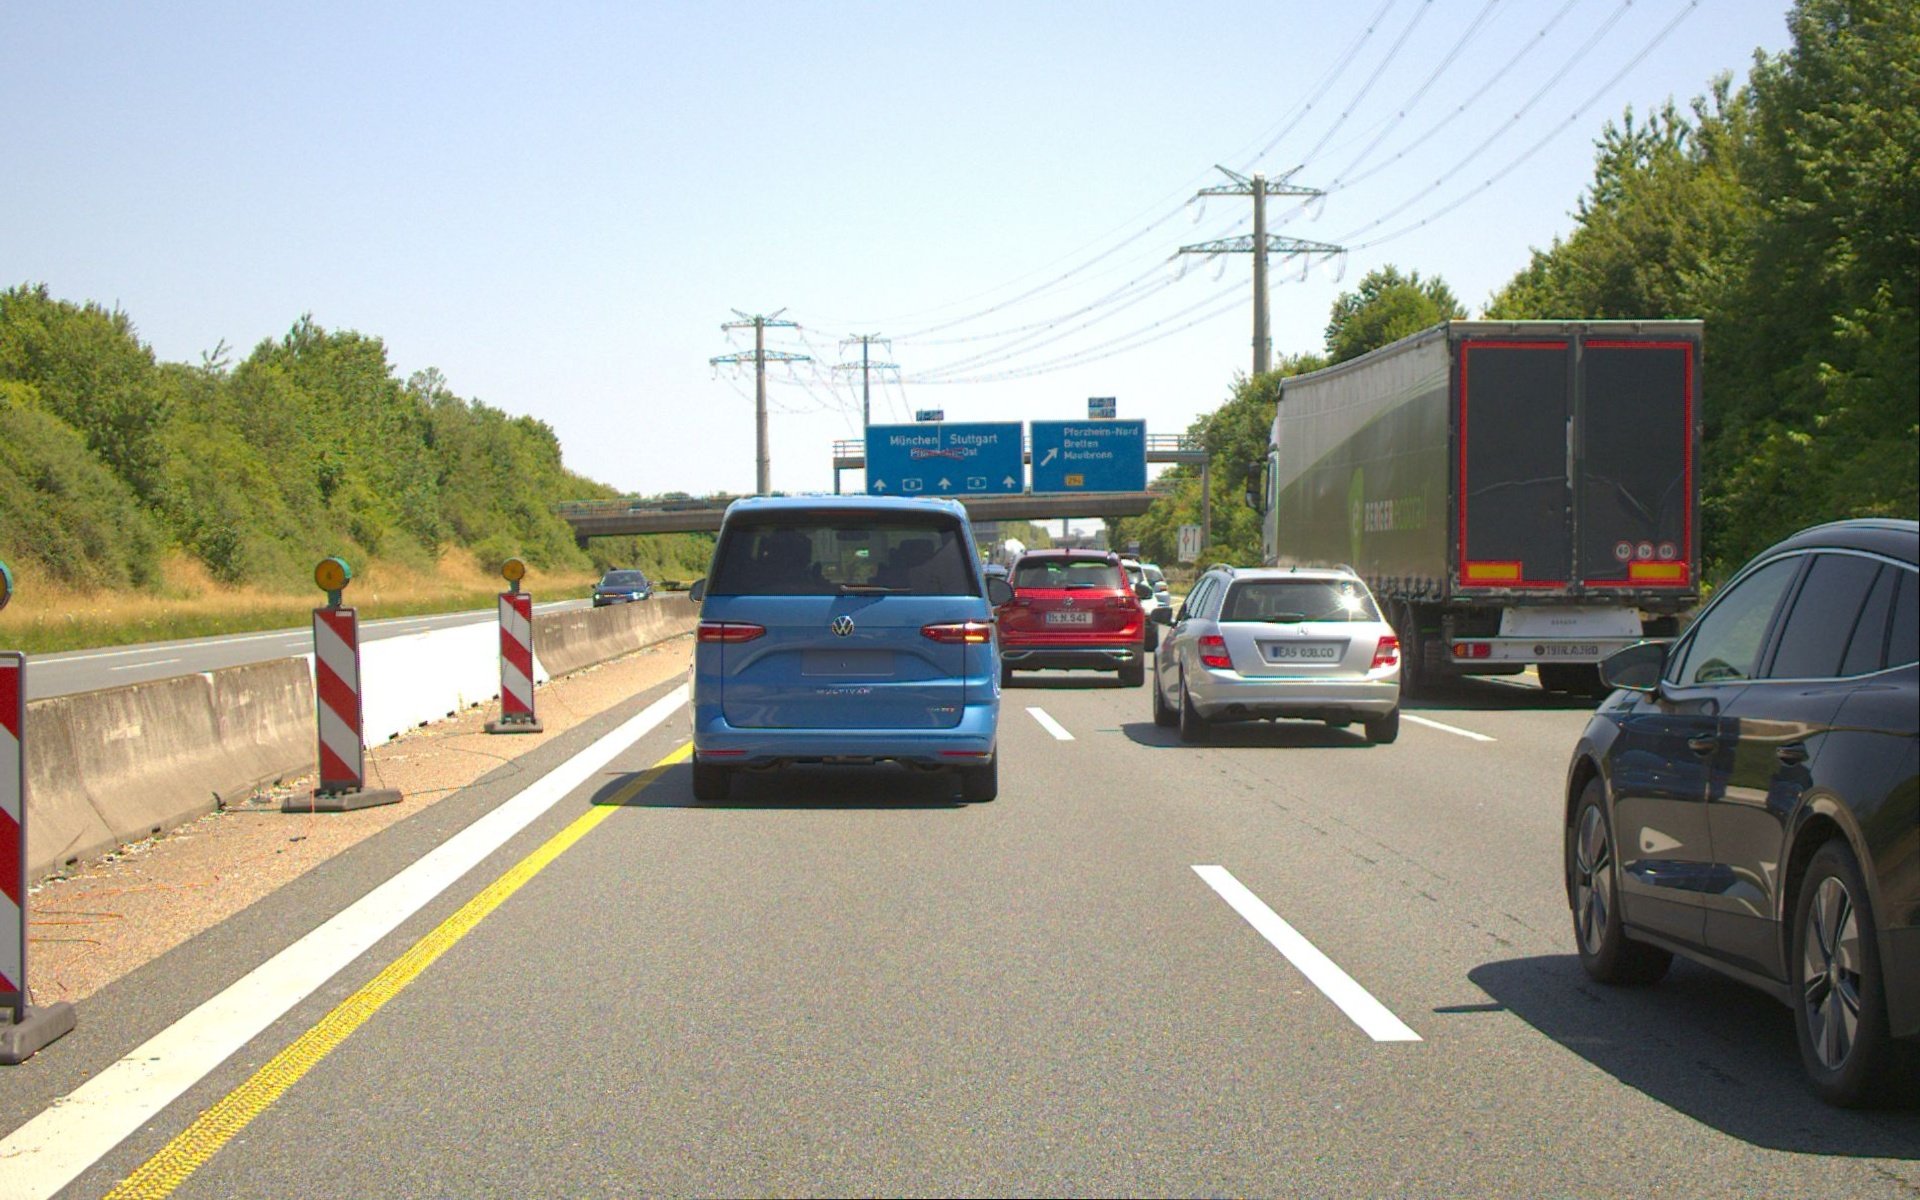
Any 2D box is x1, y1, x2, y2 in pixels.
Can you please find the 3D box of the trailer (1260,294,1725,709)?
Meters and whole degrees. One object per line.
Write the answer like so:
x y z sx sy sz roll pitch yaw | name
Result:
5.825 -1.028 40.446 2.783 4.033 13.113 1 0 -3 | trailer

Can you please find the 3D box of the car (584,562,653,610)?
-11.266 -0.480 113.647 1.862 1.485 4.493 -1 1 -1 | car

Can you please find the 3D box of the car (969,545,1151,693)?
1.156 0.201 41.686 1.874 1.665 4.360 1 0 -2 | car

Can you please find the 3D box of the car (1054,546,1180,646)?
2.612 -0.079 57.893 1.797 1.588 4.227 1 0 -1 | car

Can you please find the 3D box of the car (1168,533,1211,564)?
12.690 -2.848 190.428 1.874 1.665 4.360 1 0 -2 | car

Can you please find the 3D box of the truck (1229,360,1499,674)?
5.494 -1.104 47.656 2.732 4.033 5.794 1 0 -3 | truck

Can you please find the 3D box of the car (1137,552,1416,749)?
2.593 0.379 29.106 1.770 1.512 4.360 1 0 -2 | car

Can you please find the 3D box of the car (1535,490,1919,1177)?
3.071 0.553 10.449 1.700 1.649 4.430 1 0 -2 | car

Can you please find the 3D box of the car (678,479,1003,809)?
-0.787 0.240 22.364 1.874 1.905 4.360 1 0 -2 | car

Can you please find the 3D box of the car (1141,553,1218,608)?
5.907 -0.536 92.815 1.700 1.443 3.788 1 0 -1 | car
